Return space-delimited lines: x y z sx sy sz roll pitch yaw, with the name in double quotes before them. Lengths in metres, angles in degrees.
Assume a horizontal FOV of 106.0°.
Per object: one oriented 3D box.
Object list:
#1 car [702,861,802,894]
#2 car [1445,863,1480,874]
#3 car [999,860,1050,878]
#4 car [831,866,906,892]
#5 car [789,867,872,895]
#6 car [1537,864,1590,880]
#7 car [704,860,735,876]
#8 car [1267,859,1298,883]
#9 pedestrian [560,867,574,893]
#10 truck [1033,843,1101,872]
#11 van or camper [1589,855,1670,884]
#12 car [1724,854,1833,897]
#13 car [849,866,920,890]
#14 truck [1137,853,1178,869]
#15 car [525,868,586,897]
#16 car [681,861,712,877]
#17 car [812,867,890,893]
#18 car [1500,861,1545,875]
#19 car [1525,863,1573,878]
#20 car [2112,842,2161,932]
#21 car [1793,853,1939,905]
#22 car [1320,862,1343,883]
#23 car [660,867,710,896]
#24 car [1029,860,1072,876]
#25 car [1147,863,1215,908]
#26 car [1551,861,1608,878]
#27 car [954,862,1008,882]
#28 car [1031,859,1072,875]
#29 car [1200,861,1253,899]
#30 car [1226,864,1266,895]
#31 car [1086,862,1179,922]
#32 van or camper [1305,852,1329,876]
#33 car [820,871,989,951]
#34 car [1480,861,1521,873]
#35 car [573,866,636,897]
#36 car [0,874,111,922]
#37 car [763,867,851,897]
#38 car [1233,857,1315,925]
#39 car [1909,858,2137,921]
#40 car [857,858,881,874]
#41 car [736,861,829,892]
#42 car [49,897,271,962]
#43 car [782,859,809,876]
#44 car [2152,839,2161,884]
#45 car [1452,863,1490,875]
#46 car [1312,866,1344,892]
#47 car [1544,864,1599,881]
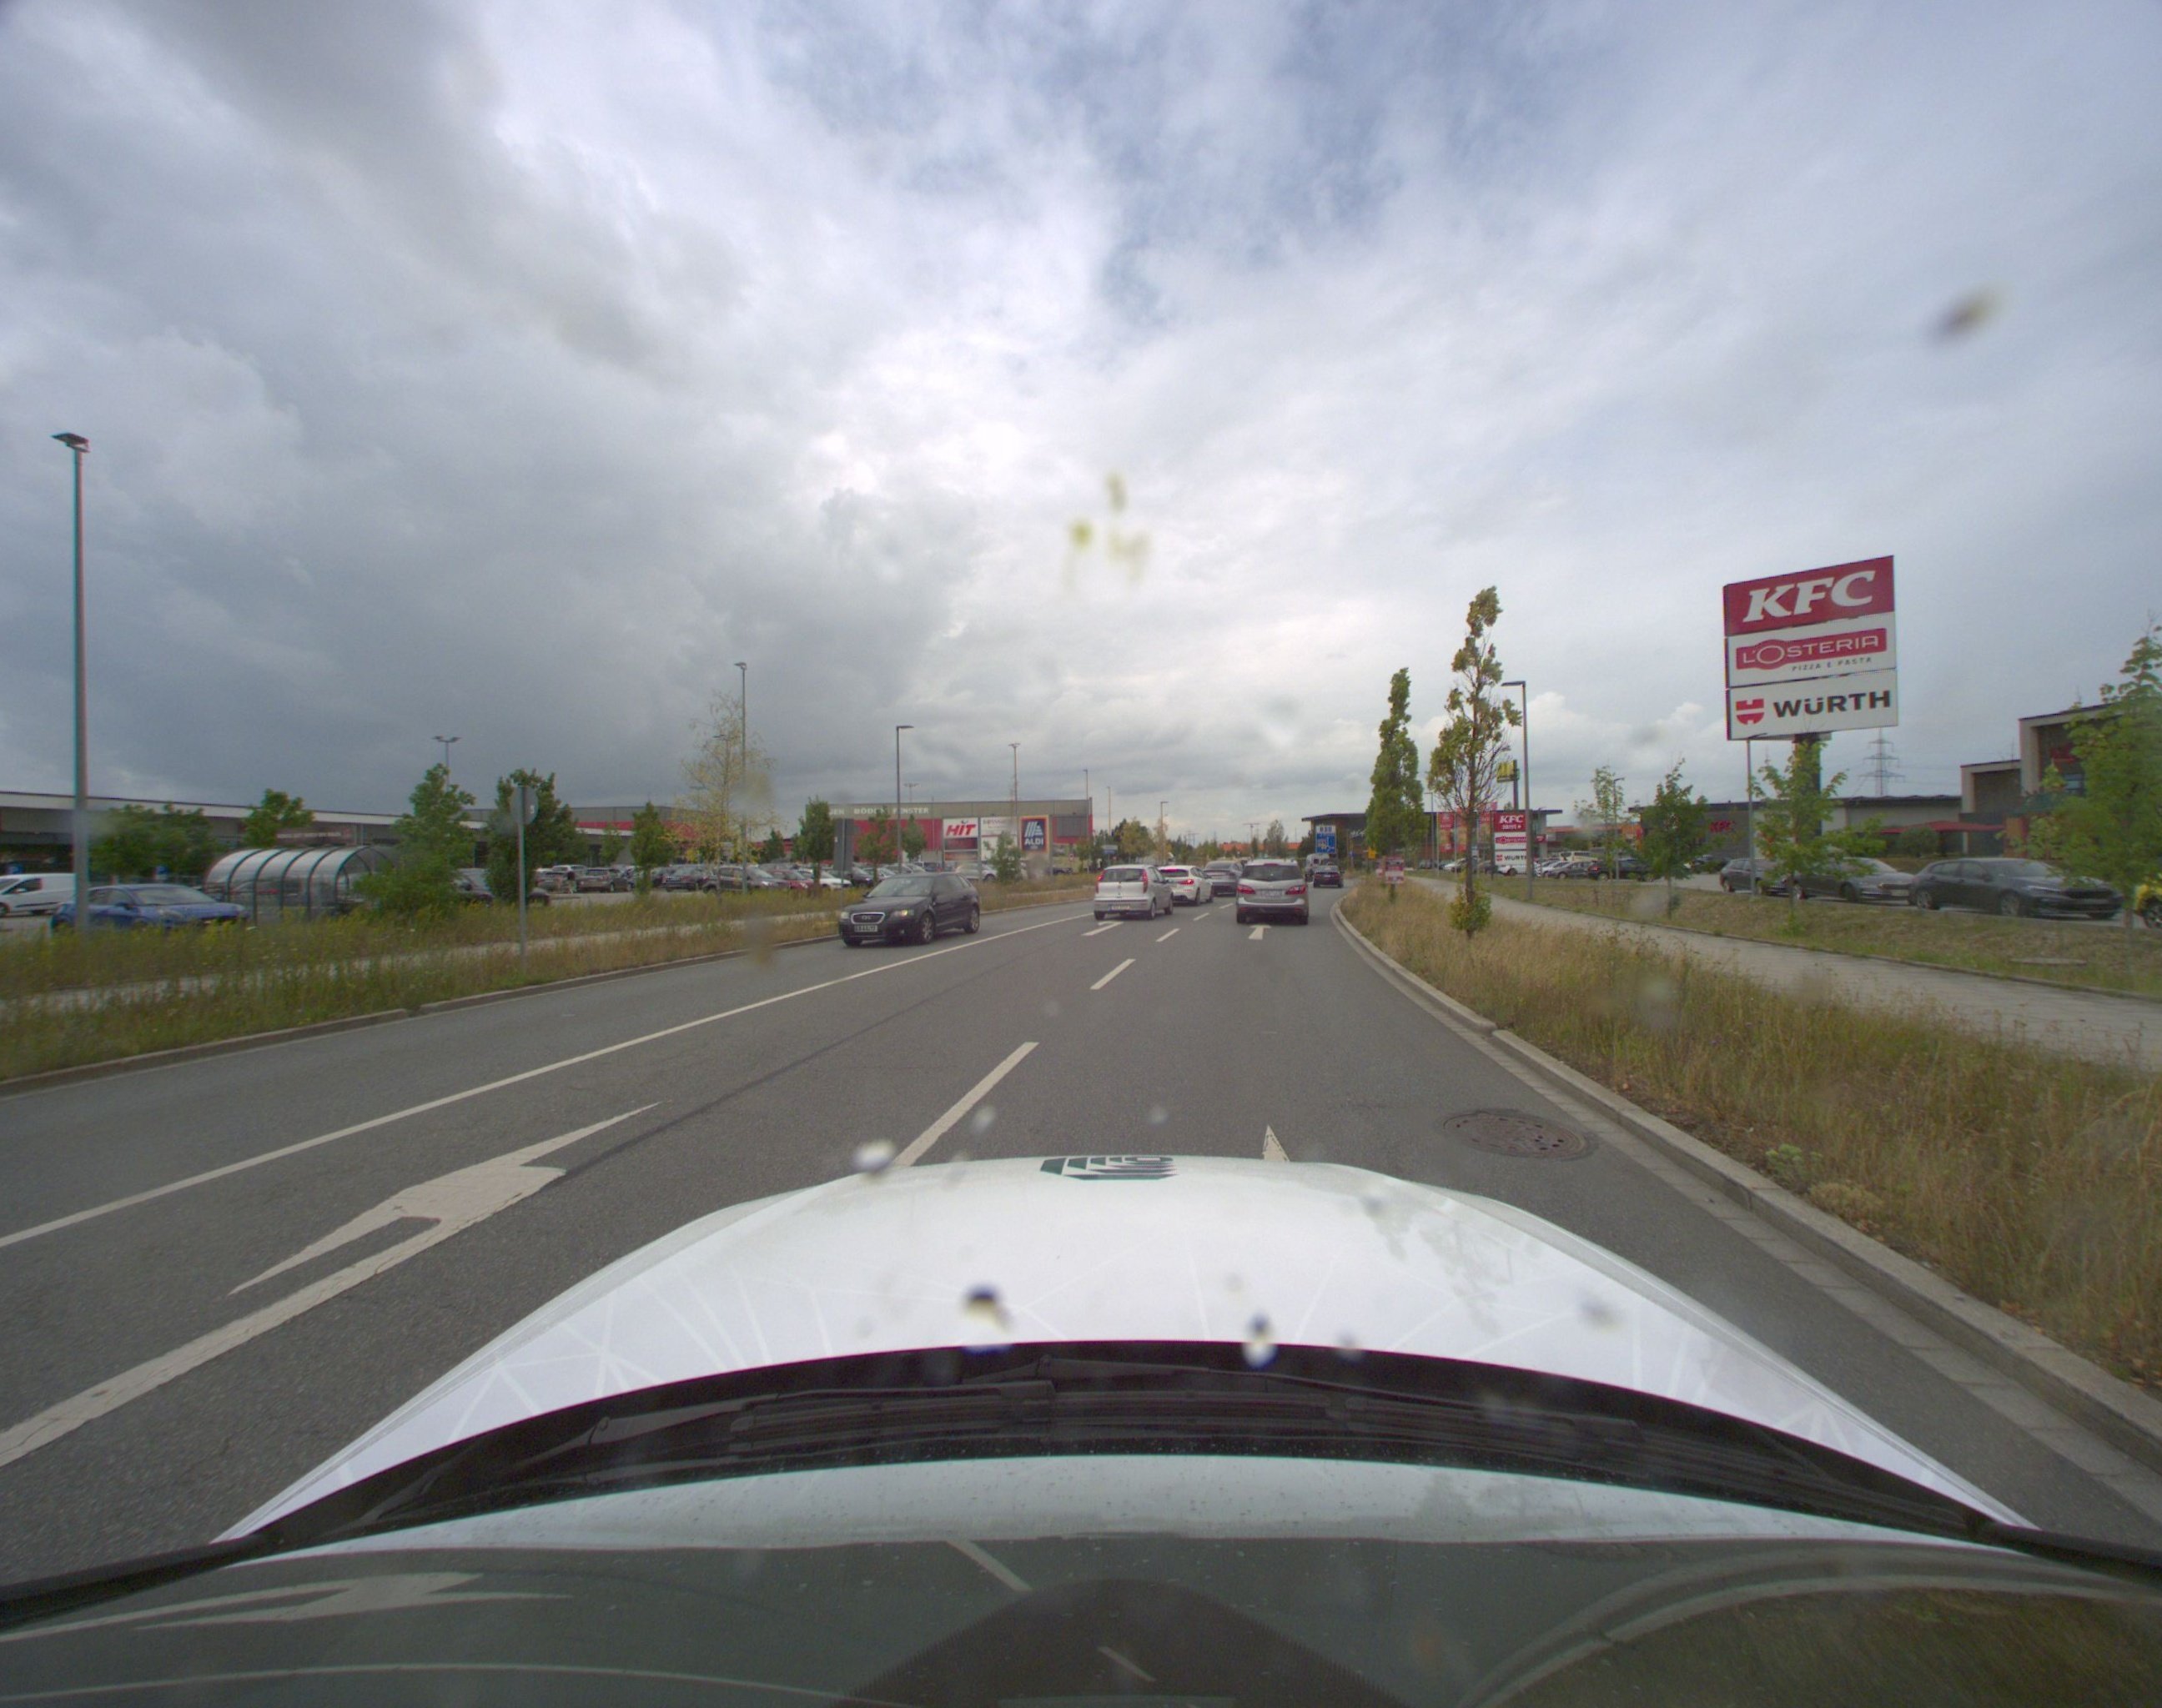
"car" -15.075 1.054 37.360 3.776 1.390 1.921 -1 0 12
"car" 44.631 1.684 95.381 3.563 1.244 1.638 -1 0 19
"car" -4.949 1.306 71.182 3.960 1.442 2.007 -2 -1 12
"car" -12.599 1.476 48.390 3.776 1.390 1.921 -1 0 12
"car" -13.522 1.453 44.008 3.776 1.390 1.921 -1 0 12
"car" 40.675 1.482 68.687 3.563 1.244 1.638 -1 0 19
"car" -39.134 1.529 88.289 1.754 1.653 3.831 -1 0 -4
"car" 14.322 1.176 57.770 1.888 1.568 4.354 -1 -1 16
"pedestrian" -30.711 1.543 48.622 0.513 1.577 0.501 -1 0 -7
"truck" -1.419 0.336 87.042 2.645 2.945 8.236 -2 0 37
"van or camper" 35.353 0.980 52.611 3.955 1.794 1.830 -1 0 17
"car" 26.780 0.785 31.432 1.697 1.499 4.018 -2 -1 17
"car" -12.136 1.484 50.412 3.776 1.390 1.921 -1 0 12
"truck" 15.280 1.365 162.905 7.627 2.916 2.366 -1 0 16
"car" -32.940 1.750 51.201 1.756 1.653 3.825 -1 0 -8
"car" -41.565 1.607 88.086 1.754 1.653 3.831 -1 0 -4
"car" -13.041 1.464 46.238 3.776 1.390 1.921 -1 0 12
"car" 42.457 1.314 78.402 3.563 1.244 1.638 -1 0 19
"car" 42.127 1.490 73.370 3.563 1.244 1.638 -1 0 19
"car" 21.200 0.596 14.042 1.737 1.683 4.309 -2 -1 9
"car" 24.885 0.760 26.020 1.697 1.499 4.018 -2 -1 17
"car" 23.915 1.769 77.703 1.978 1.924 4.869 -1 -1 17
"car" -25.025 1.697 51.576 1.756 1.653 3.825 -1 0 -8
"car" -2.813 1.274 76.001 3.816 1.428 1.742 -1 0 1
"car" 3.726 1.094 29.649 1.781 1.450 4.266 -1 0 16
"car" 39.246 1.250 64.177 3.563 1.244 1.638 -1 0 19
"car" -7.784 1.404 63.431 3.800 1.428 1.750 -2 -1 16
"car" -2.825 1.281 78.096 3.816 1.428 1.742 -1 0 1
"car" 6.754 1.147 37.462 1.790 1.508 4.906 -1 0 17
"car" 9.253 1.379 45.500 1.889 1.568 4.353 -1 -1 15
"car" 1.536 1.004 22.757 1.781 1.461 3.832 -1 0 16
"van or camper" 25.768 1.099 88.674 2.171 2.541 6.194 -1 -1 18
"car" -3.536 1.109 17.186 1.756 1.384 4.166 -2 -1 14
"car" 43.680 1.350 84.898 3.563 1.244 1.638 -1 0 19
"car" -30.039 1.709 51.453 1.992 1.734 3.989 -1 0 -8
"car" -43.460 1.804 33.445 1.988 1.819 4.425 -2 -1 -2
"car" -14.052 1.419 41.789 3.776 1.390 1.921 -1 0 12
"car" 5.156 0.877 21.393 1.801 1.563 4.421 0 0 17
"car" 22.973 0.817 20.127 1.725 1.361 4.016 -2 -1 16
"car" -23.283 1.326 89.485 1.754 1.653 3.831 -1 0 -4
"car" -14.543 1.085 39.744 3.776 1.390 1.921 -1 0 12
"car" -22.444 1.825 19.898 4.108 1.384 1.817 -2 -1 13
"car" -31.201 1.459 89.121 1.754 1.653 3.831 -1 0 -4
"car" 43.131 0.233 29.658 1.752 1.748 4.727 -1 -1 -9
"car" 42.519 1.676 88.913 3.563 1.244 1.638 -1 0 19
"car" 15.134 1.501 50.096 1.740 1.386 4.319 -1 0 15
"car" 39.927 1.499 66.380 3.563 1.244 1.638 -1 0 19
